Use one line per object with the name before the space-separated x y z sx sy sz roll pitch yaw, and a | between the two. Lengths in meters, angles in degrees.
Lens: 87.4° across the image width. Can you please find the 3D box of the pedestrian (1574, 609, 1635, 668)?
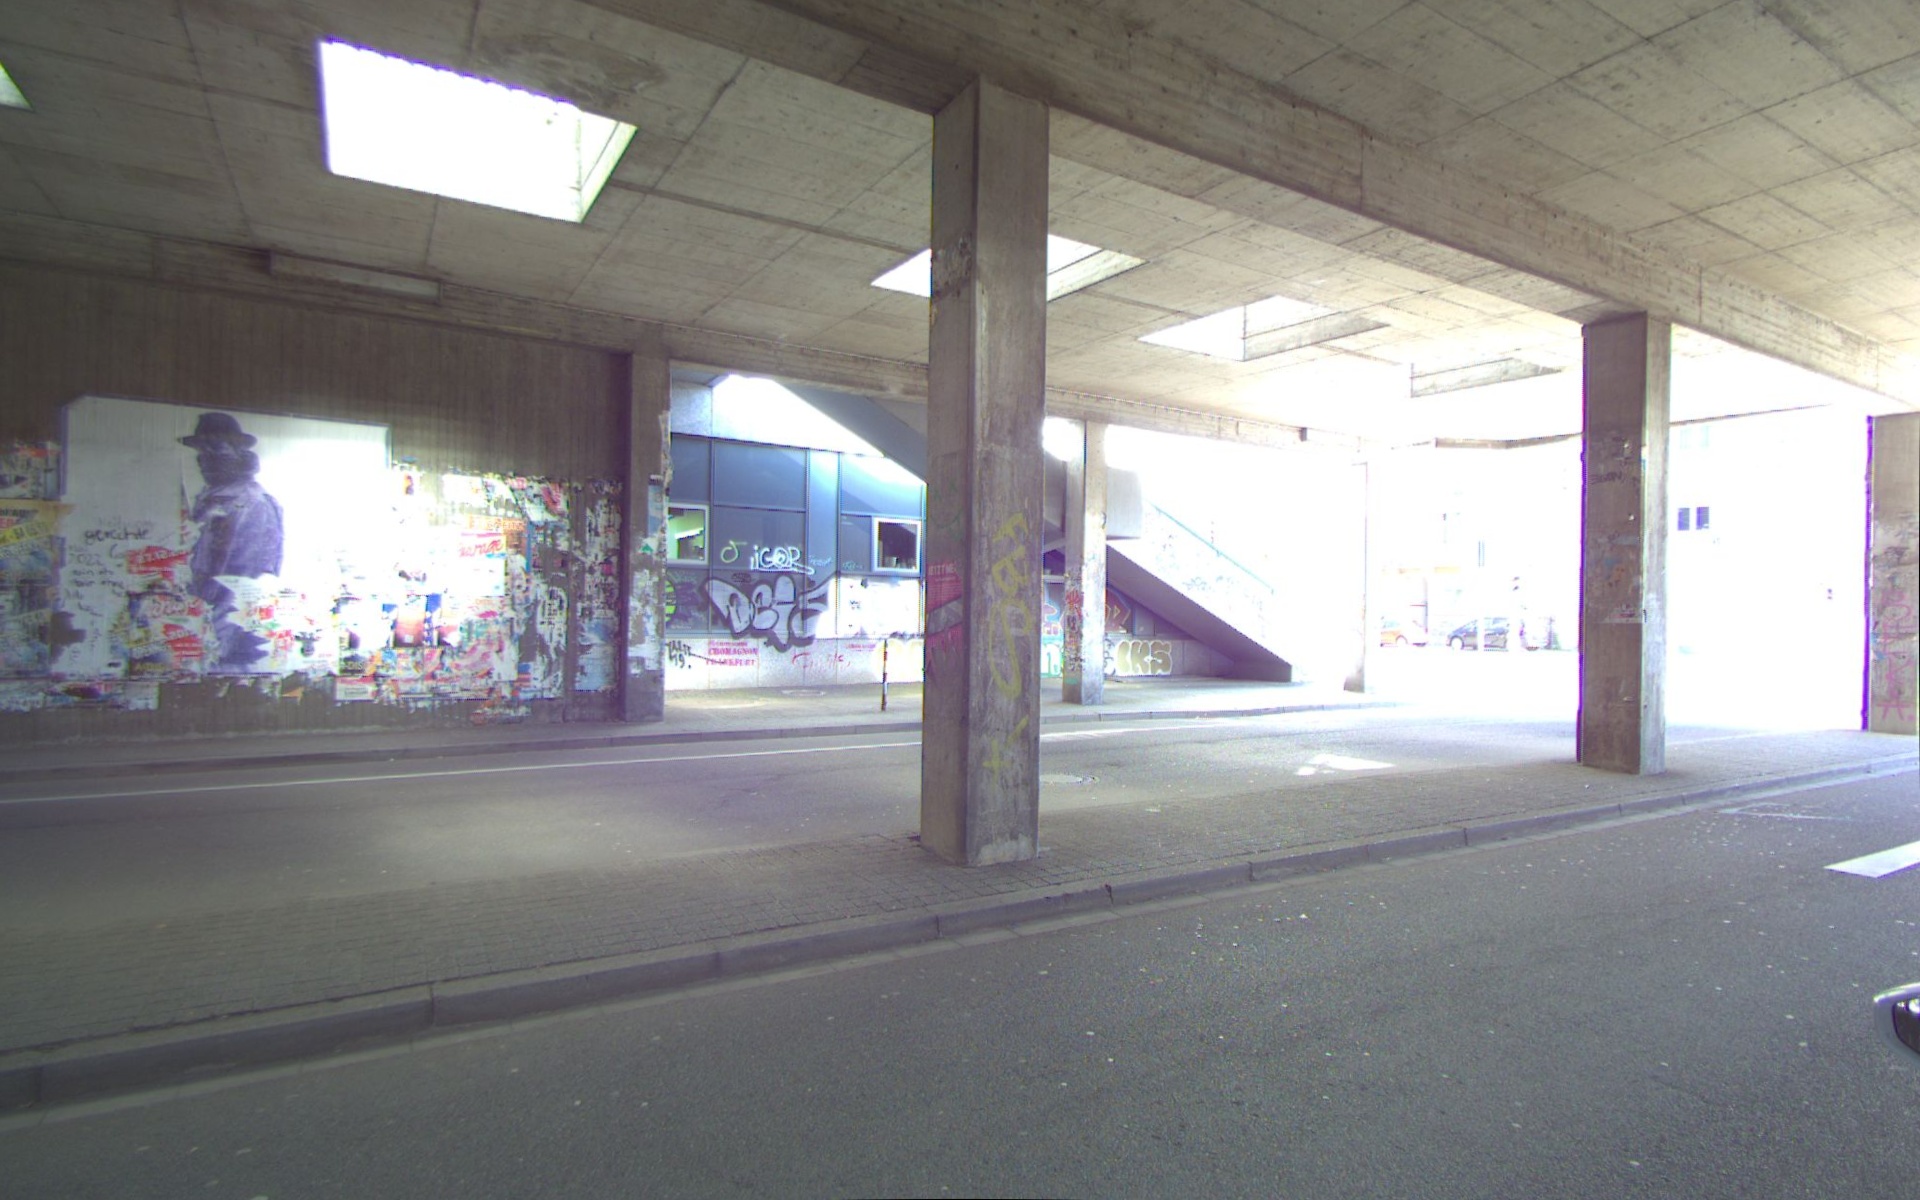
pedestrian | 19.609 1.163 30.571 1.123 1.760 1.111 1 -1 -17

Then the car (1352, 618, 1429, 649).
car | 22.459 1.717 52.489 1.543 1.526 3.518 1 -1 -29

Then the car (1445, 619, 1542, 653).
car | 25.351 1.668 47.824 1.732 1.528 3.735 1 -1 -31
